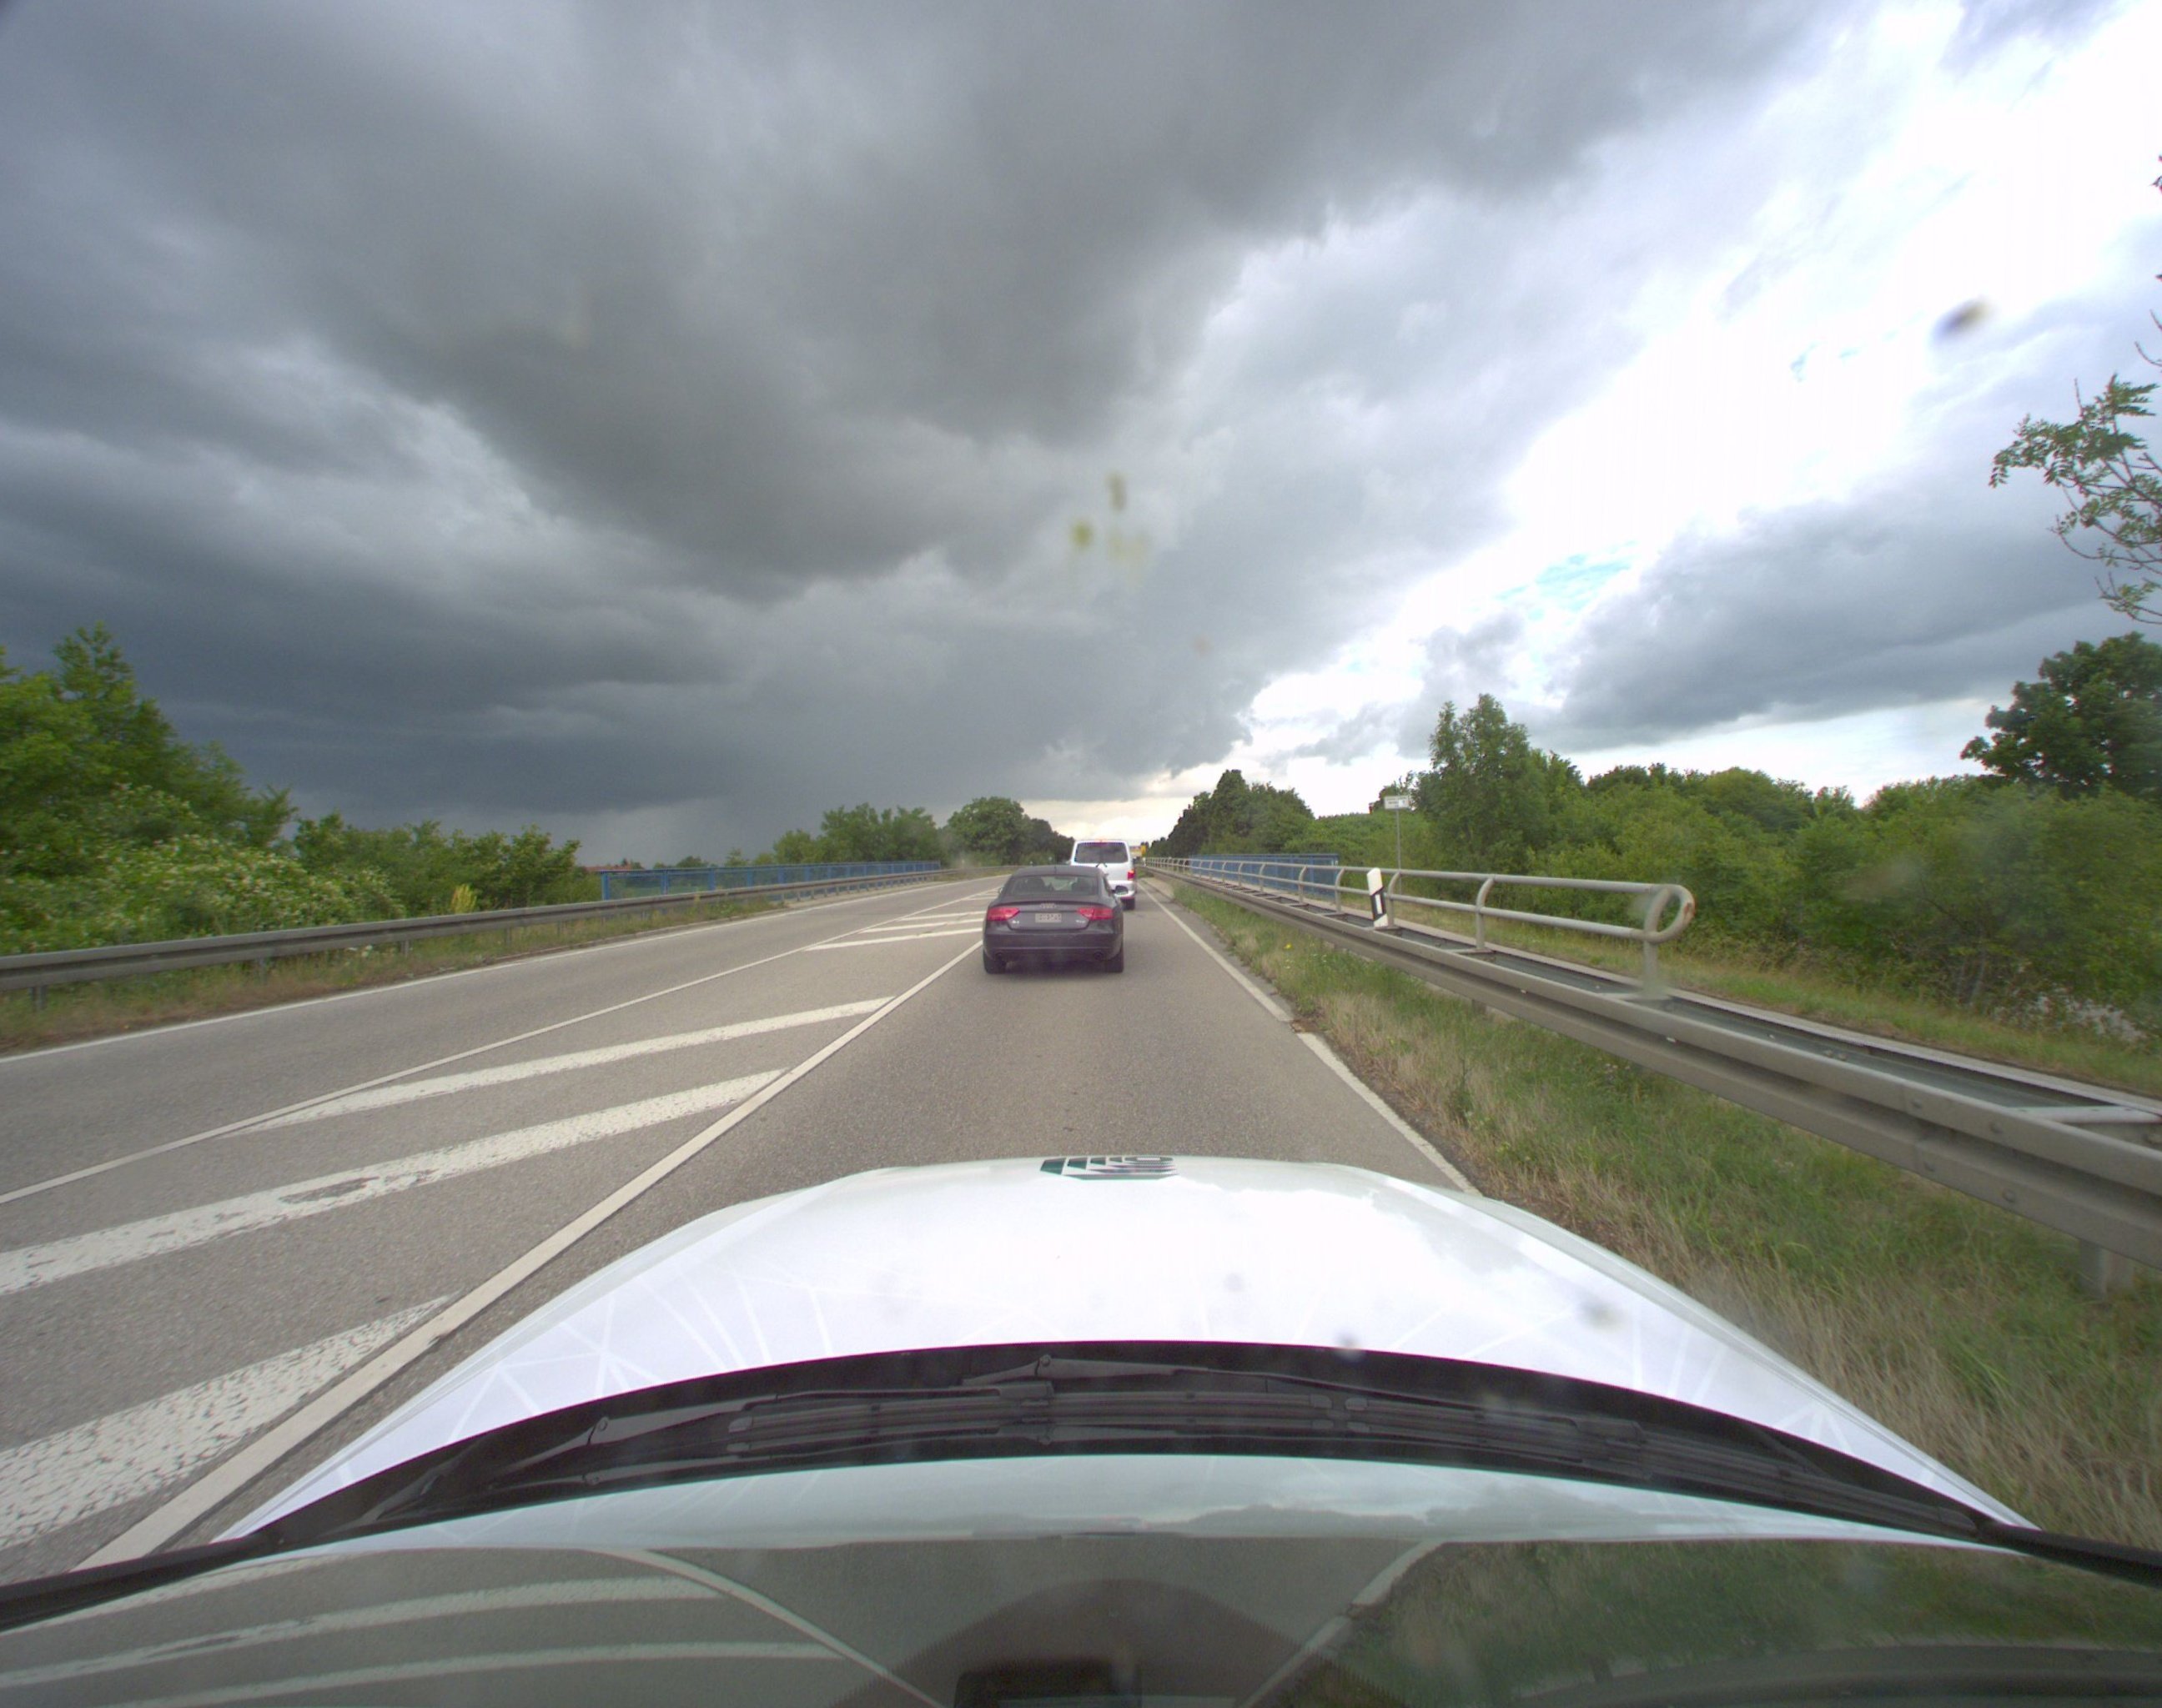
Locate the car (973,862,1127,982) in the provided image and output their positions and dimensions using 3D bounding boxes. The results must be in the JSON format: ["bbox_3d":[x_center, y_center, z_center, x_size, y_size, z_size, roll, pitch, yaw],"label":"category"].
[{"bbox_3d":[-0.265,0.830,11.757,1.814,1.381,4.075,-1,0,3],"label":"car"}]

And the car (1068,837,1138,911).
[{"bbox_3d":[0.655,0.554,23.745,1.821,1.935,4.001,-2,0,2],"label":"car"}]

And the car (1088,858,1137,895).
[{"bbox_3d":[1.298,0.853,32.743,1.814,1.381,4.075,-1,0,3],"label":"car"}]
